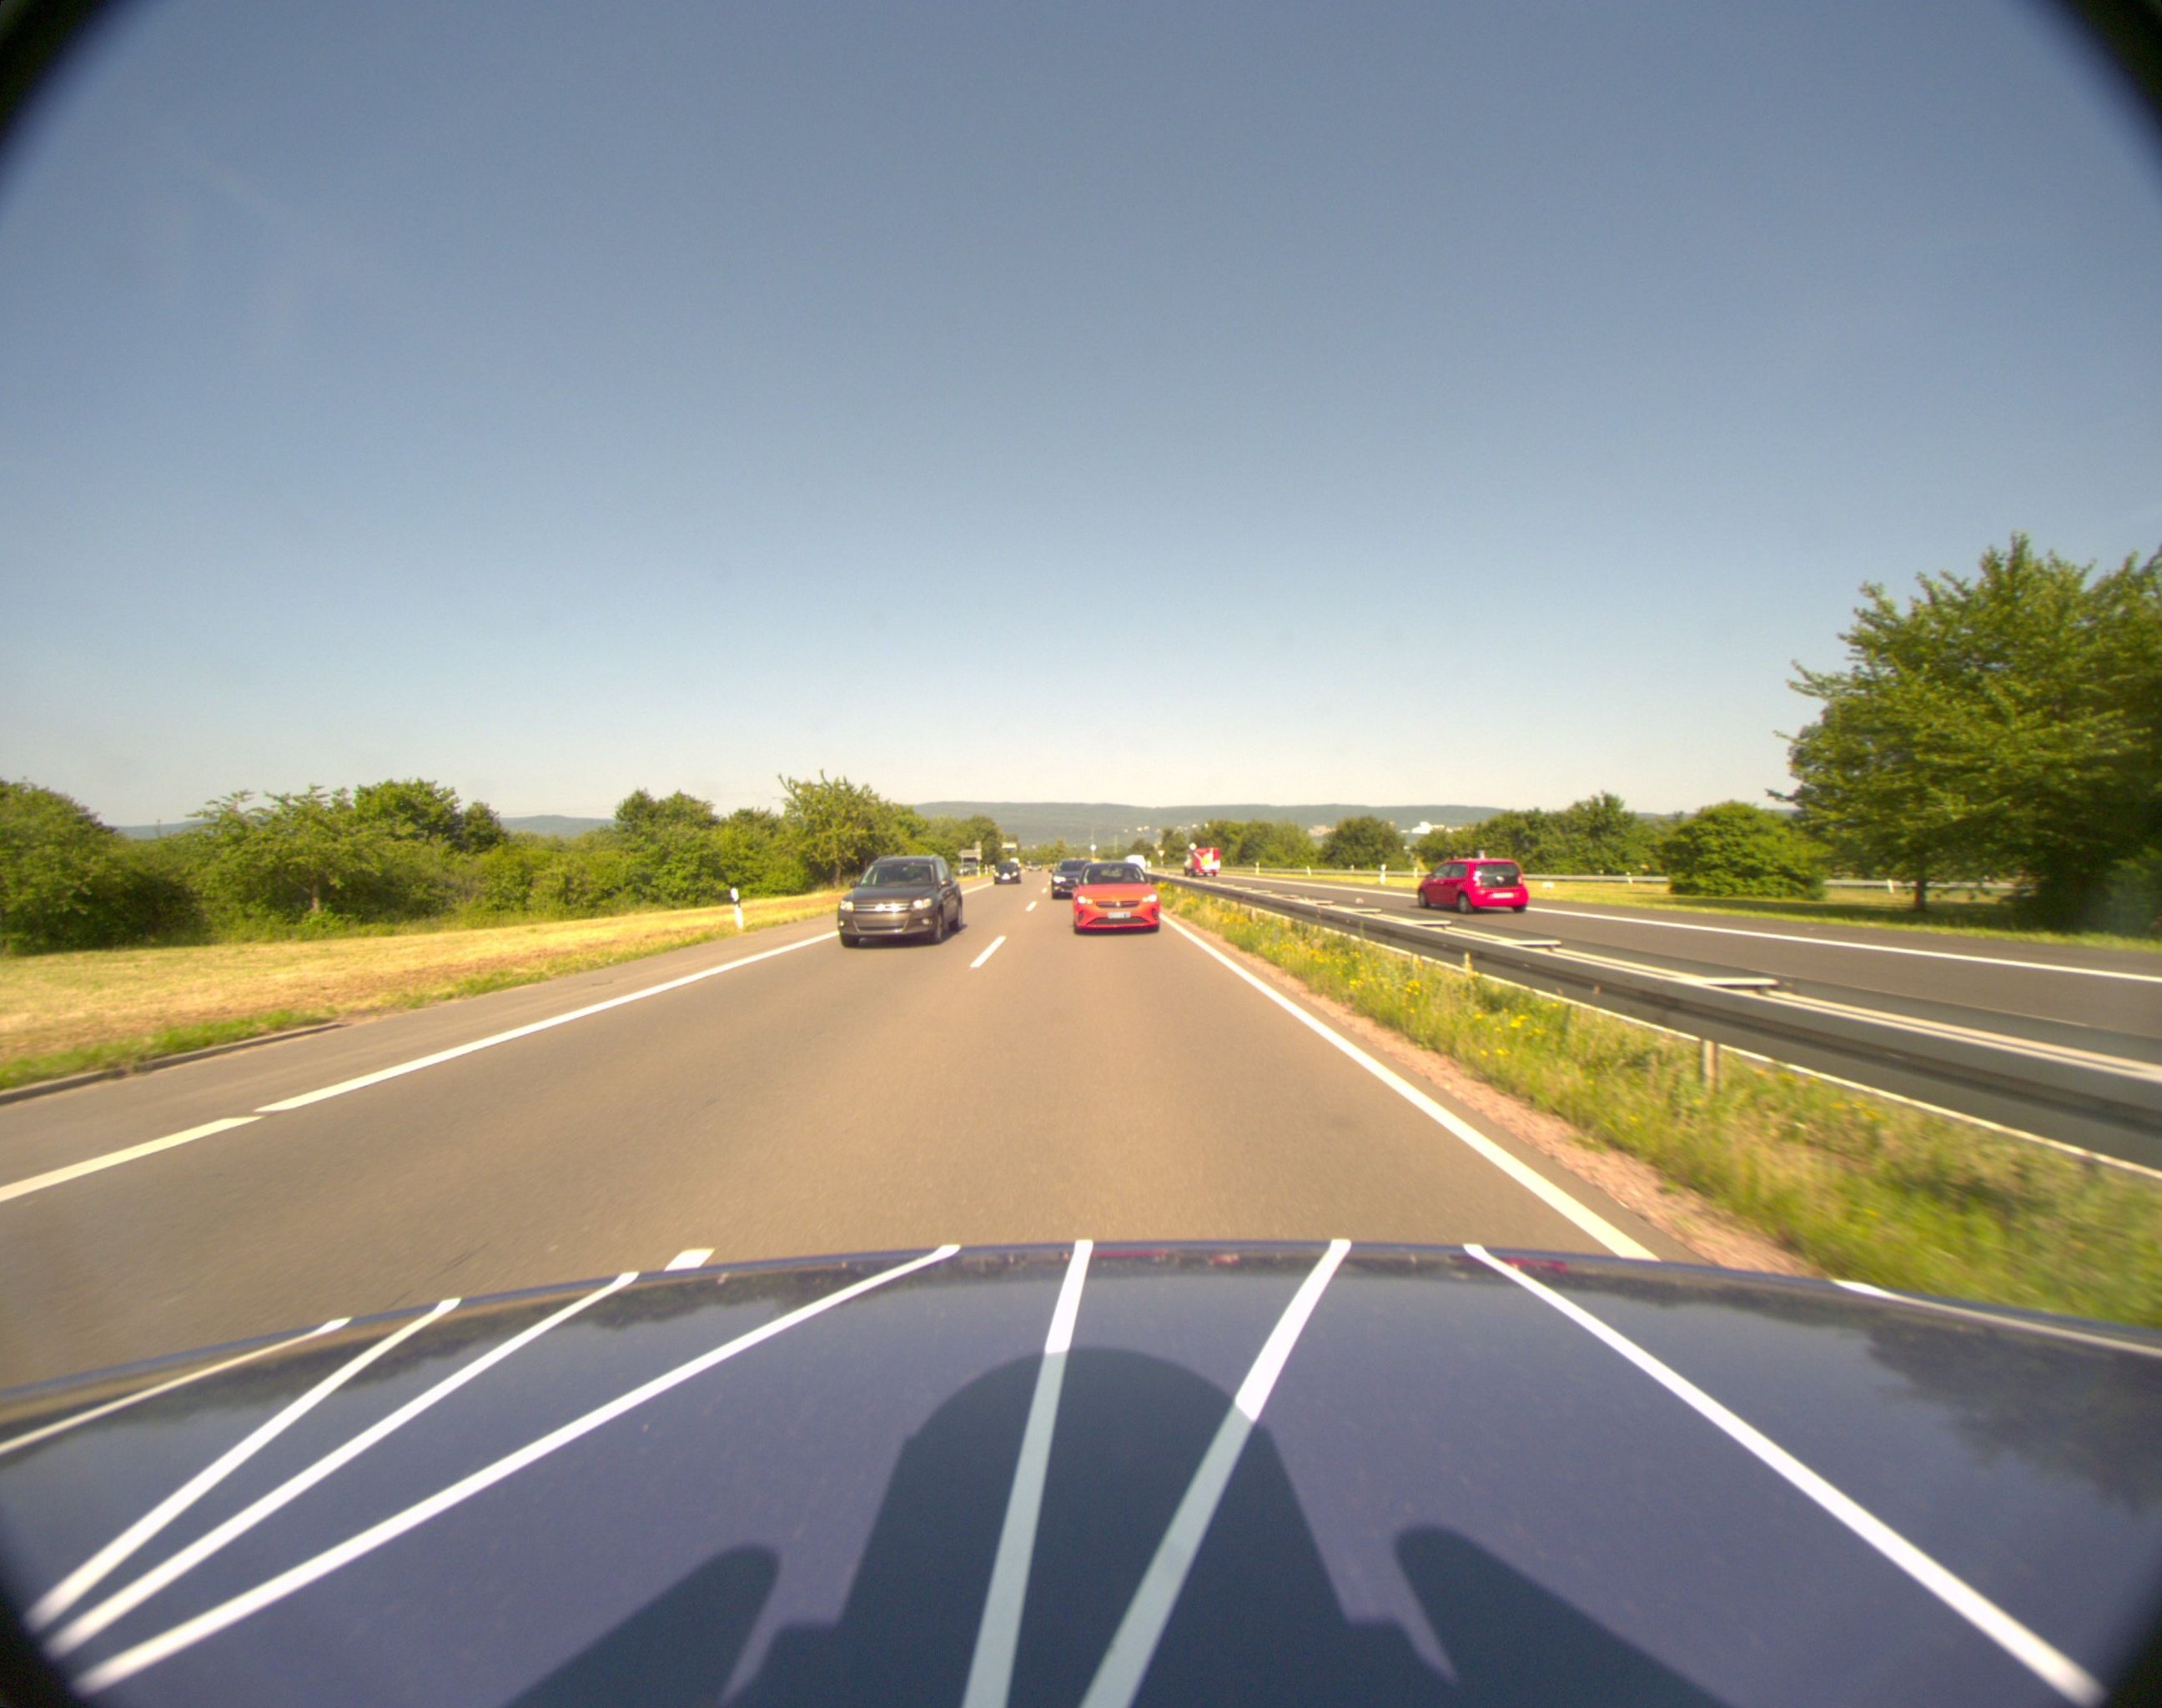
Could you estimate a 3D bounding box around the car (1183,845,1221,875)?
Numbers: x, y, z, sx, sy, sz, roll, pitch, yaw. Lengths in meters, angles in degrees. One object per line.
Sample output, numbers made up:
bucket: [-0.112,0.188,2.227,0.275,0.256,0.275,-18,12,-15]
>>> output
car: [10.289,0.452,64.976,2.119,2.361,5.880,-2,1,-1]

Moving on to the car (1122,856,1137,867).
car: [7.882,1.136,123.550,1.999,1.630,3.999,-2,1,-1]

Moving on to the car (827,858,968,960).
car: [-3.463,0.953,15.144,1.790,1.637,4.147,-2,1,-1]

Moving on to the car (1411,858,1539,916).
car: [10.883,0.861,21.287,1.633,1.449,3.768,-1,0,0]

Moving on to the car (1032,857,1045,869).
car: [-6.399,1.346,115.513,1.768,1.652,3.999,-2,1,-2]

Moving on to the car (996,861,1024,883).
car: [-4.554,1.140,49.397,1.601,1.241,3.998,-2,1,-3]

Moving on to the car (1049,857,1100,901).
car: [-0.246,0.905,29.486,1.788,1.524,4.375,-2,0,0]

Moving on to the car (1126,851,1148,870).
car: [6.294,0.739,85.624,1.999,2.002,4.517,-2,1,-1]

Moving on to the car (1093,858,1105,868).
car: [3.178,1.543,133.022,1.864,1.656,3.999,-2,1,0]

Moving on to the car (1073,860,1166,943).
car: [0.723,0.913,16.488,1.713,1.429,4.411,-2,1,0]
